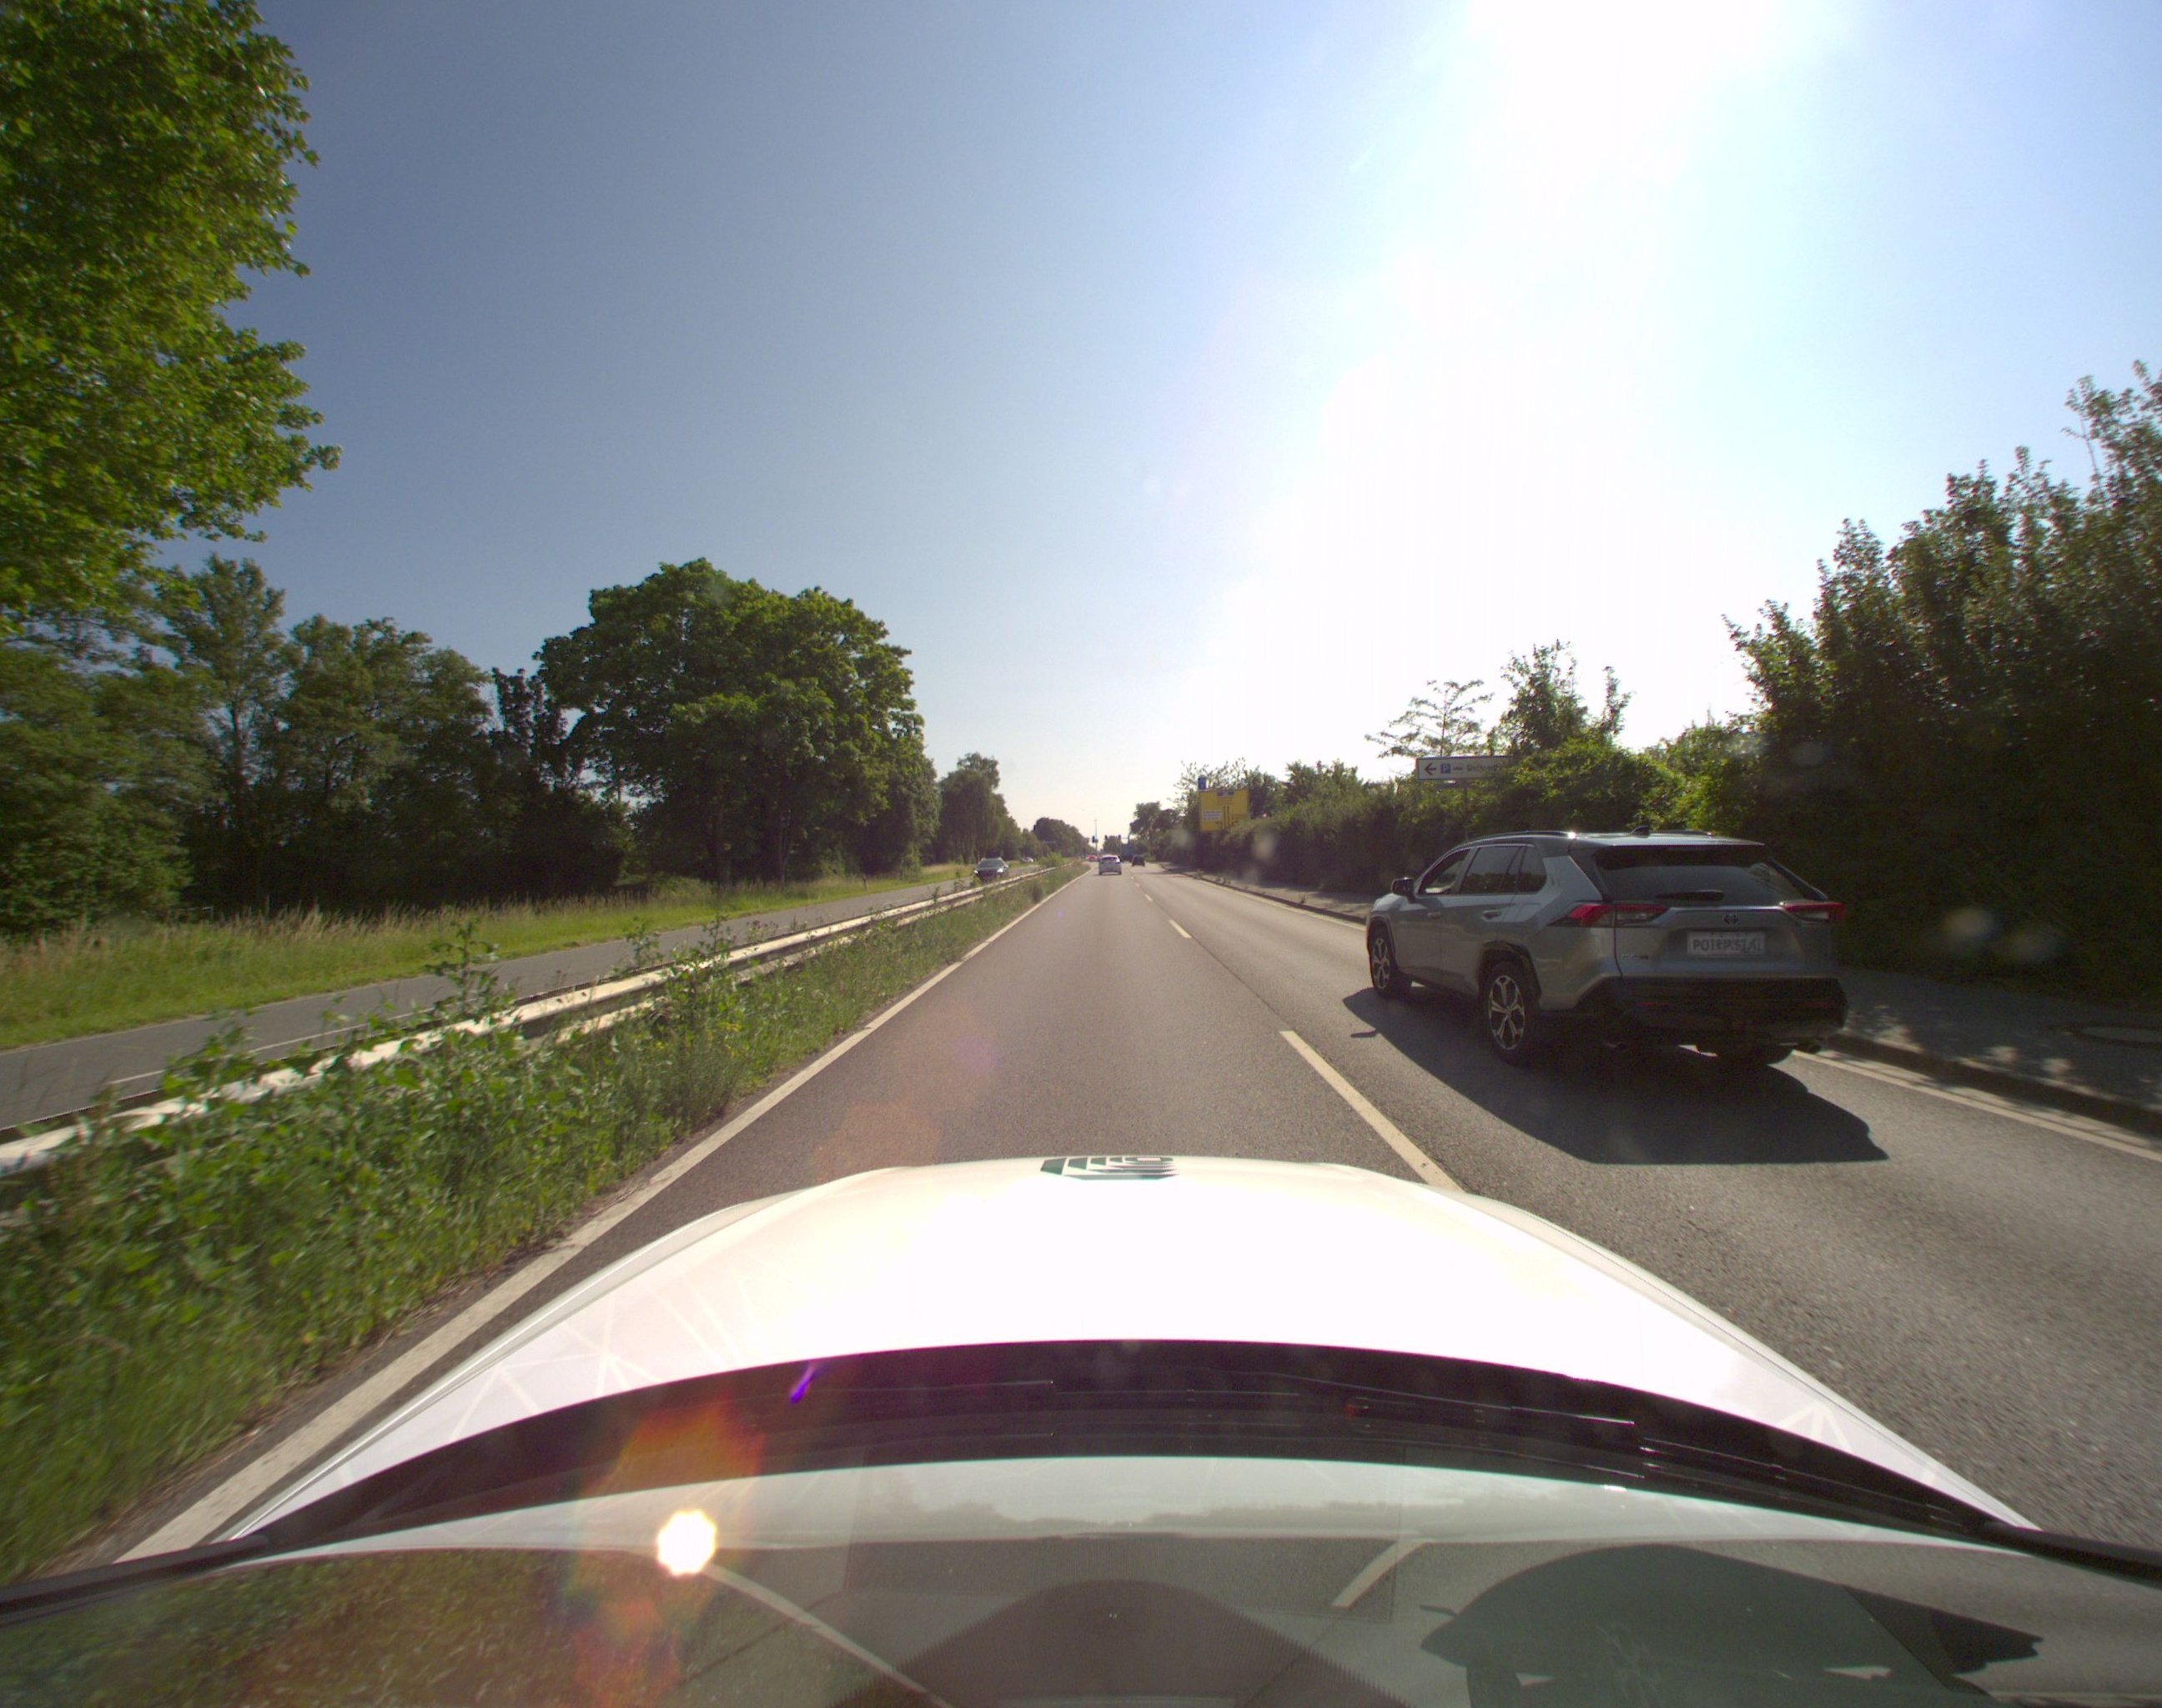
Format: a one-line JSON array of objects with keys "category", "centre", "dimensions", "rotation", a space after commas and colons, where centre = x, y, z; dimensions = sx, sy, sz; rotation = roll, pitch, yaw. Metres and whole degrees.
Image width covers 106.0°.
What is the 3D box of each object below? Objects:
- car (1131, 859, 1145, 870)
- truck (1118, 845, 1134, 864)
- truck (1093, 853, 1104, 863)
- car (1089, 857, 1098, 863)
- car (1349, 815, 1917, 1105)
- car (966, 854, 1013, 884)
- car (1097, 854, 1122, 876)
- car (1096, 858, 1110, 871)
[{"category": "car", "centre": [7.136, 1.324, 102.370], "dimensions": [1.566, 1.414, 3.279], "rotation": [-2, -1, 2]}, {"category": "truck", "centre": [9.037, 0.073, 162.870], "dimensions": [2.881, 3.428, 9.173], "rotation": [-3, 0, 2]}, {"category": "truck", "centre": [4.342, 0.935, 203.295], "dimensions": [2.363, 2.388, 6.048], "rotation": [0, 2, 4]}, {"category": "car", "centre": [3.006, 1.517, 196.224], "dimensions": [1.804, 1.464, 4.976], "rotation": [-2, -1, 4]}, {"category": "car", "centre": [3.997, 0.621, 7.103], "dimensions": [1.895, 1.680, 4.685], "rotation": [0, 0, 1]}, {"category": "car", "centre": [-5.116, 0.829, 46.194], "dimensions": [1.770, 1.530, 4.167], "rotation": [-3, 0, 5]}, {"category": "car", "centre": [2.185, 0.830, 61.931], "dimensions": [1.791, 1.552, 4.003], "rotation": [-1, 0, 2]}, {"category": "car", "centre": [2.641, 1.252, 95.918], "dimensions": [1.566, 1.414, 3.279], "rotation": [-2, 0, 2]}]
